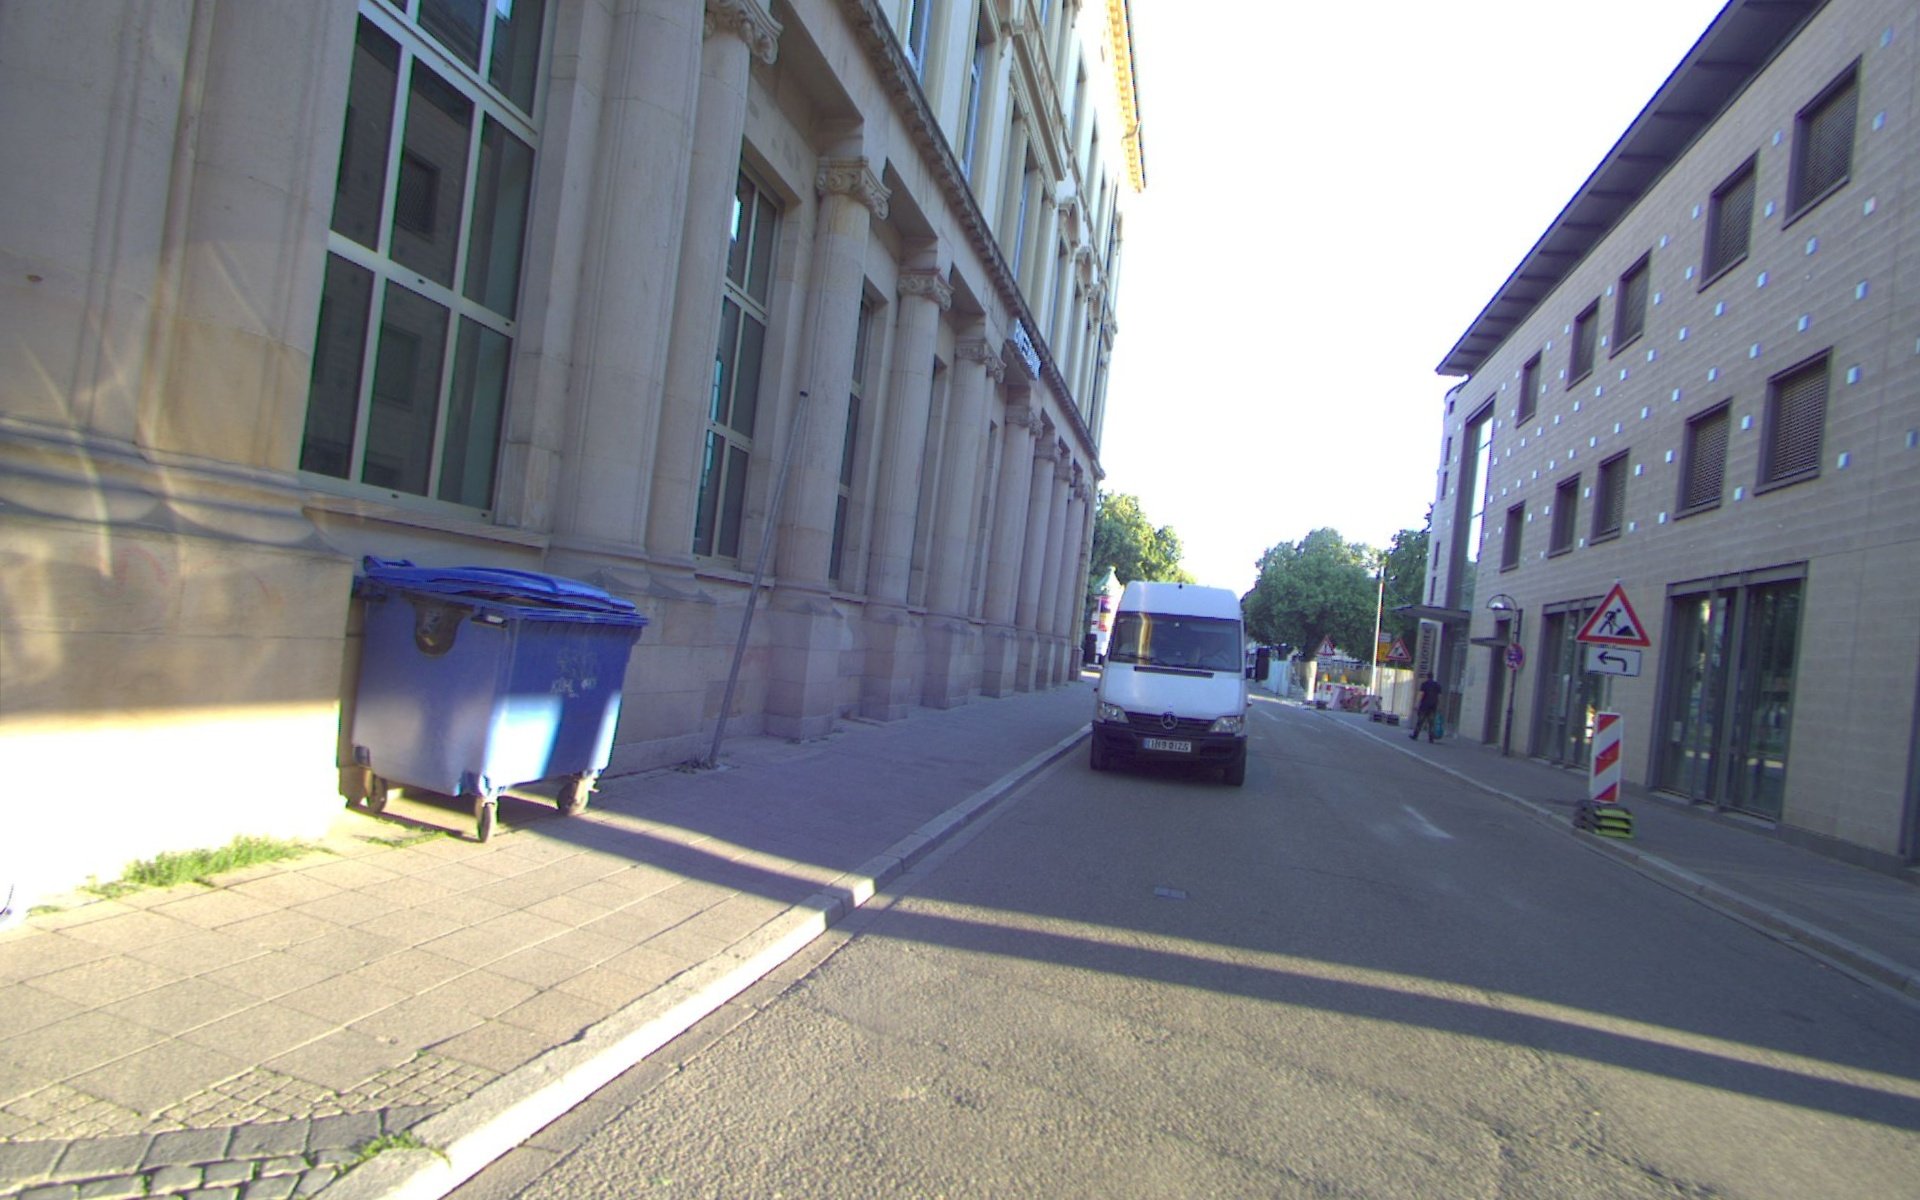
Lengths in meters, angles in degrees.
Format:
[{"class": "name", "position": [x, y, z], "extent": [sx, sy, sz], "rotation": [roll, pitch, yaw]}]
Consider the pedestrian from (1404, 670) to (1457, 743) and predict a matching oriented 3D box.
[{"class": "pedestrian", "position": [12.089, 2.724, 25.878], "extent": [0.908, 1.722, 0.869], "rotation": [7, 0, 14]}]

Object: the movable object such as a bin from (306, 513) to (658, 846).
[{"class": "movable object such as a bin", "position": [-2.578, 0.411, 5.573], "extent": [1.057, 1.492, 1.188], "rotation": [9, 0, 17]}]

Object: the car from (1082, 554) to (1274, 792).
[{"class": "car", "position": [3.132, 0.966, 14.614], "extent": [1.964, 2.542, 6.476], "rotation": [4, -2, 12]}]
